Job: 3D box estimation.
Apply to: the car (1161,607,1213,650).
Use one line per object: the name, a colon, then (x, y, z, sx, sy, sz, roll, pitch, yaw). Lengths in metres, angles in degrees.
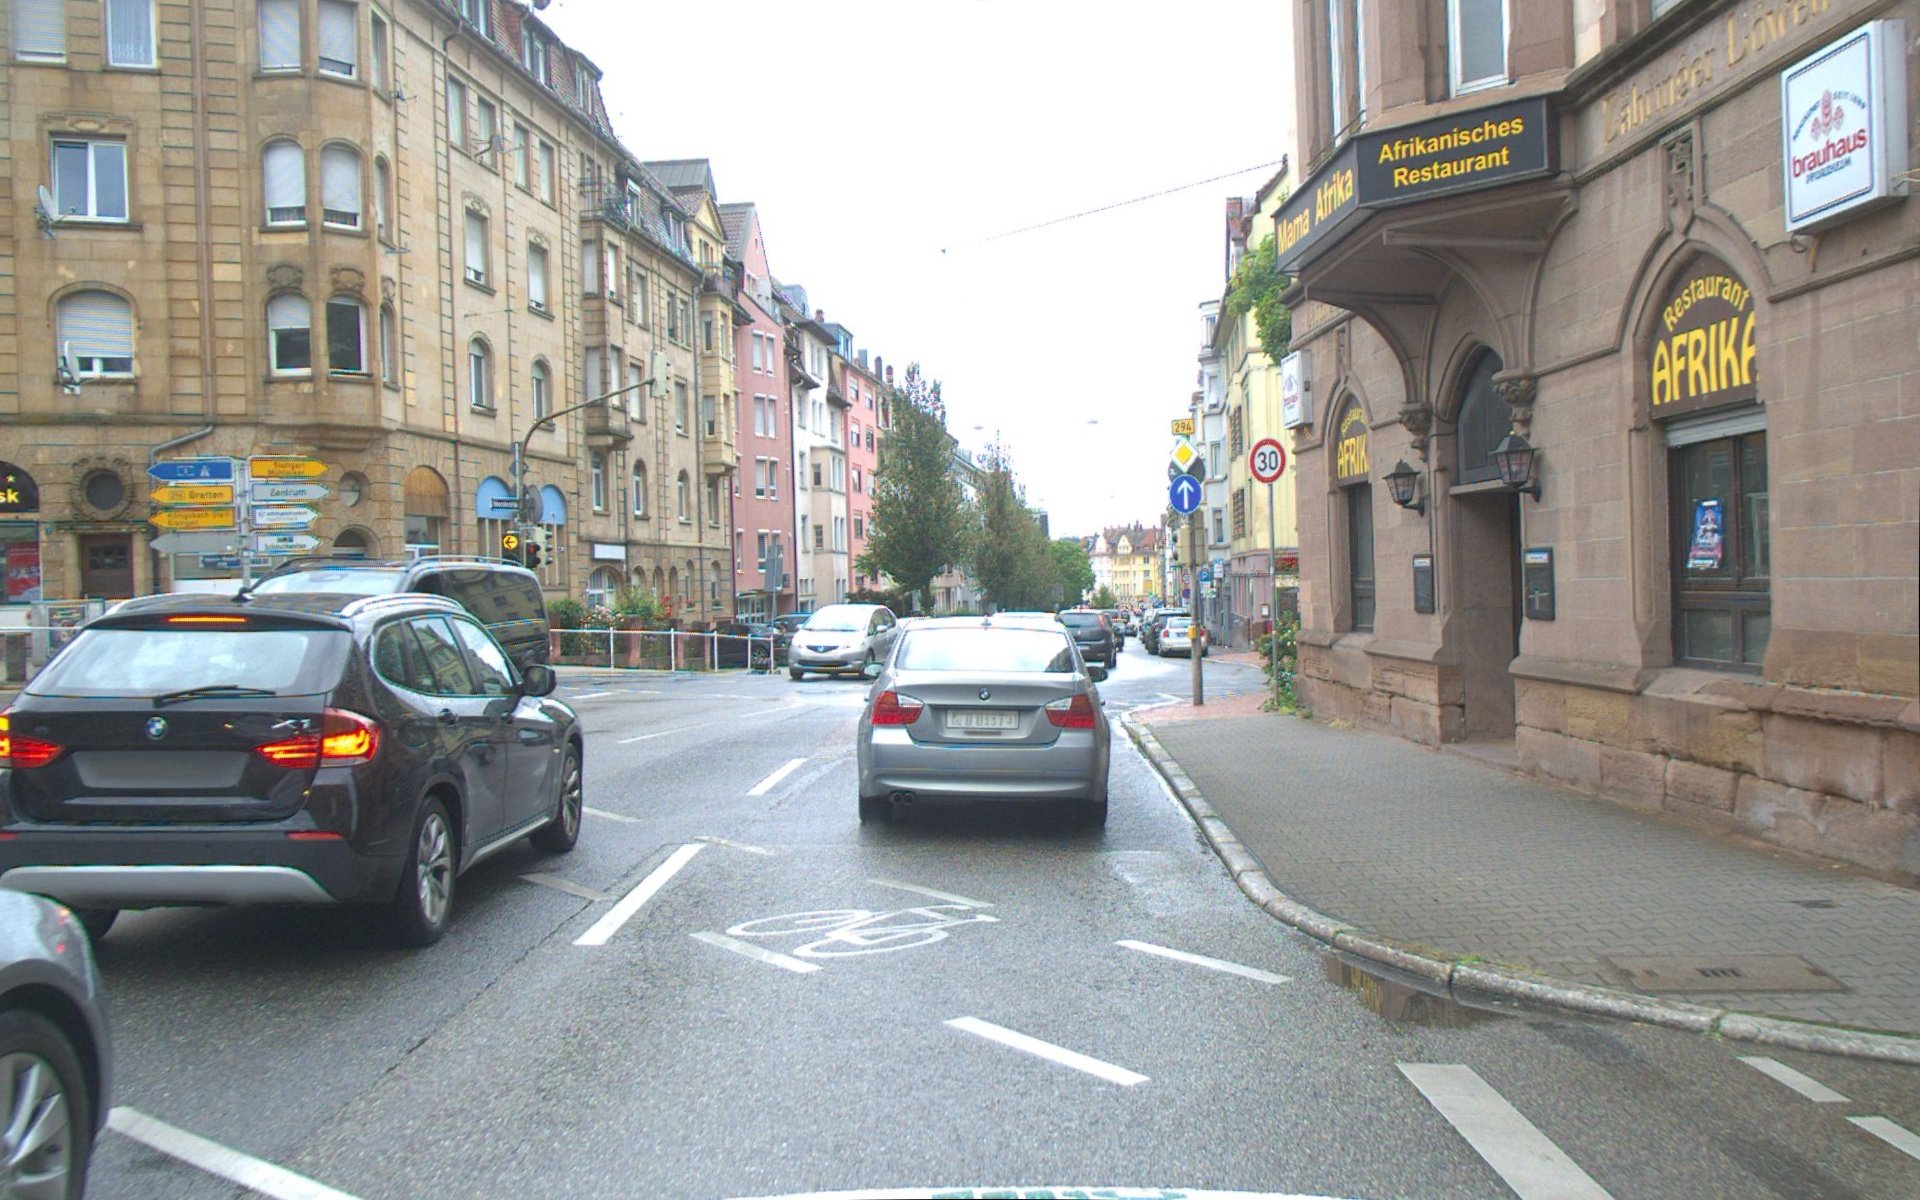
car: (8.570, 1.069, 62.765, 1.761, 1.592, 4.495, 0, -1, 5)

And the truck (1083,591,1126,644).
truck: (6.904, 0.853, 78.942, 1.989, 2.455, 4.829, 0, -1, 5)

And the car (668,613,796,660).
car: (-7.903, 1.270, 57.557, 4.059, 1.537, 1.874, -1, 0, 6)

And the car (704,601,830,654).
car: (-7.262, 1.026, 62.598, 4.581, 1.973, 1.862, 0, 0, -4)

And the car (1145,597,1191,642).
car: (9.307, 0.890, 74.371, 1.879, 1.859, 5.012, -3, -1, 6)

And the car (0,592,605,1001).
car: (-3.086, 0.798, 8.469, 1.716, 1.562, 4.213, 0, -1, -1)

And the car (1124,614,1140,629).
car: (20.281, 2.525, 195.368, 1.839, 1.762, 4.443, 0, -1, 6)

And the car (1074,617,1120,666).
car: (4.597, 1.403, 55.665, 1.418, 1.593, 3.333, 0, -1, 2)

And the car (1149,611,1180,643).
car: (13.875, 1.864, 112.589, 1.940, 2.042, 4.628, -3, -1, 6)

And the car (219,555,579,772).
car: (-5.455, 0.590, 16.705, 1.705, 1.878, 4.149, -2, -1, 8)

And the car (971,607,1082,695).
car: (1.242, 0.888, 29.498, 1.646, 1.453, 3.743, 0, -1, 7)

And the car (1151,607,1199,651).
car: (8.836, 1.178, 68.195, 1.839, 1.762, 4.679, 0, -1, 6)

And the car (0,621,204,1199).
car: (-2.687, 0.813, 1.912, 1.716, 1.509, 4.180, -1, 0, 0)

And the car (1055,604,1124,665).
car: (3.314, 0.894, 42.808, 1.662, 1.509, 3.794, 0, -1, 2)

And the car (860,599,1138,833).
car: (0.171, 0.765, 12.190, 1.734, 1.453, 3.738, 0, -1, -2)

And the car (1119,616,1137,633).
car: (17.839, 2.629, 175.173, 1.839, 1.762, 4.680, 0, -1, 6)

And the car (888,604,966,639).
car: (-2.116, 1.388, 106.990, 4.727, 2.008, 2.049, -3, -1, 6)

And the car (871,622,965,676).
car: (-1.365, 1.653, 56.032, 1.923, 1.723, 4.811, -1, -2, 14)

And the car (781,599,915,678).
car: (-2.286, 0.762, 34.716, 1.590, 1.545, 3.873, 0, 0, 16)

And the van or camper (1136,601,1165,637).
van or camper: (15.856, 1.589, 137.483, 1.990, 2.919, 6.890, 1, -1, 10)
